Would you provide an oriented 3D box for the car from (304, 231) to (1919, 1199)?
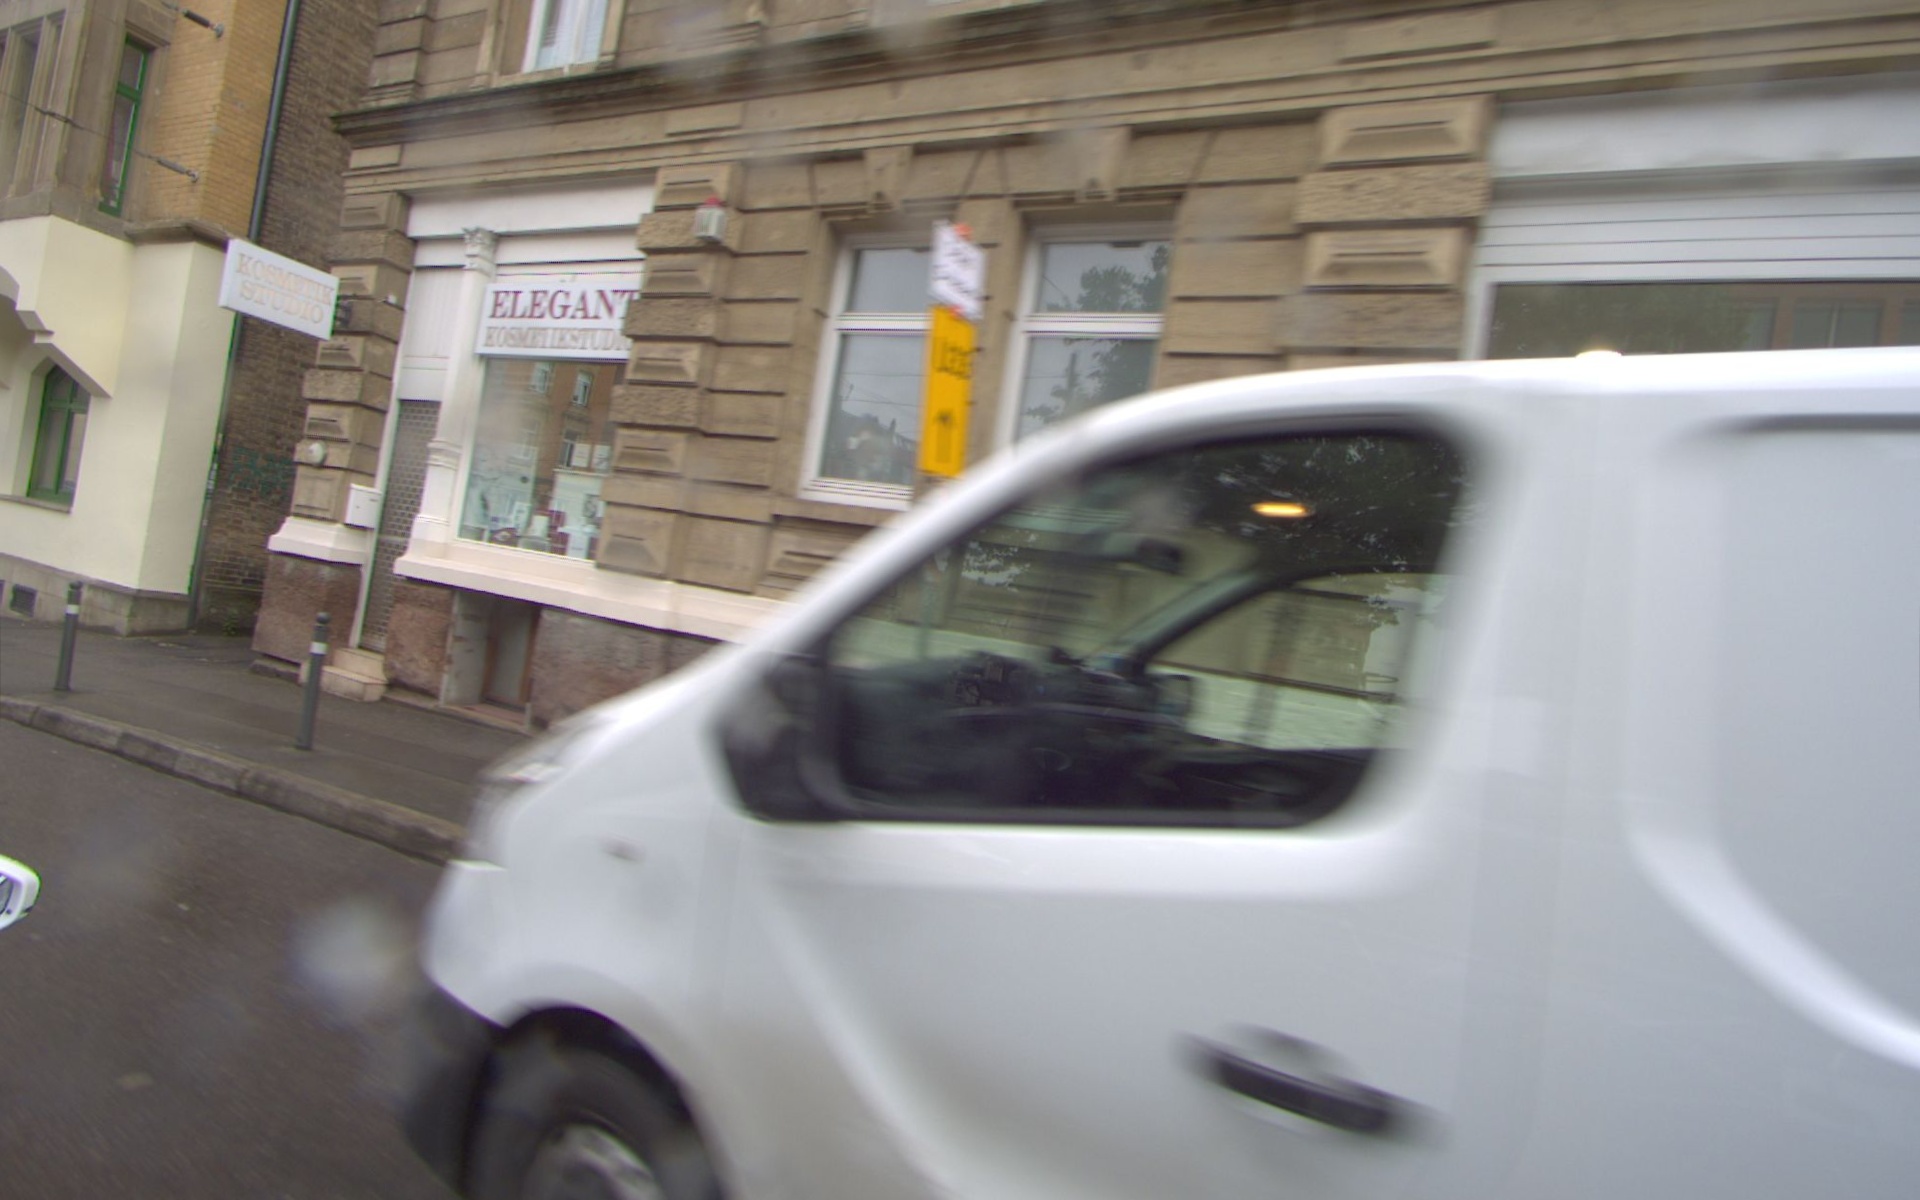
[{"bbox_3d":[1.218,0.718,1.803,4.605,1.957,1.926,6,-2,29],"label":"car"}]
